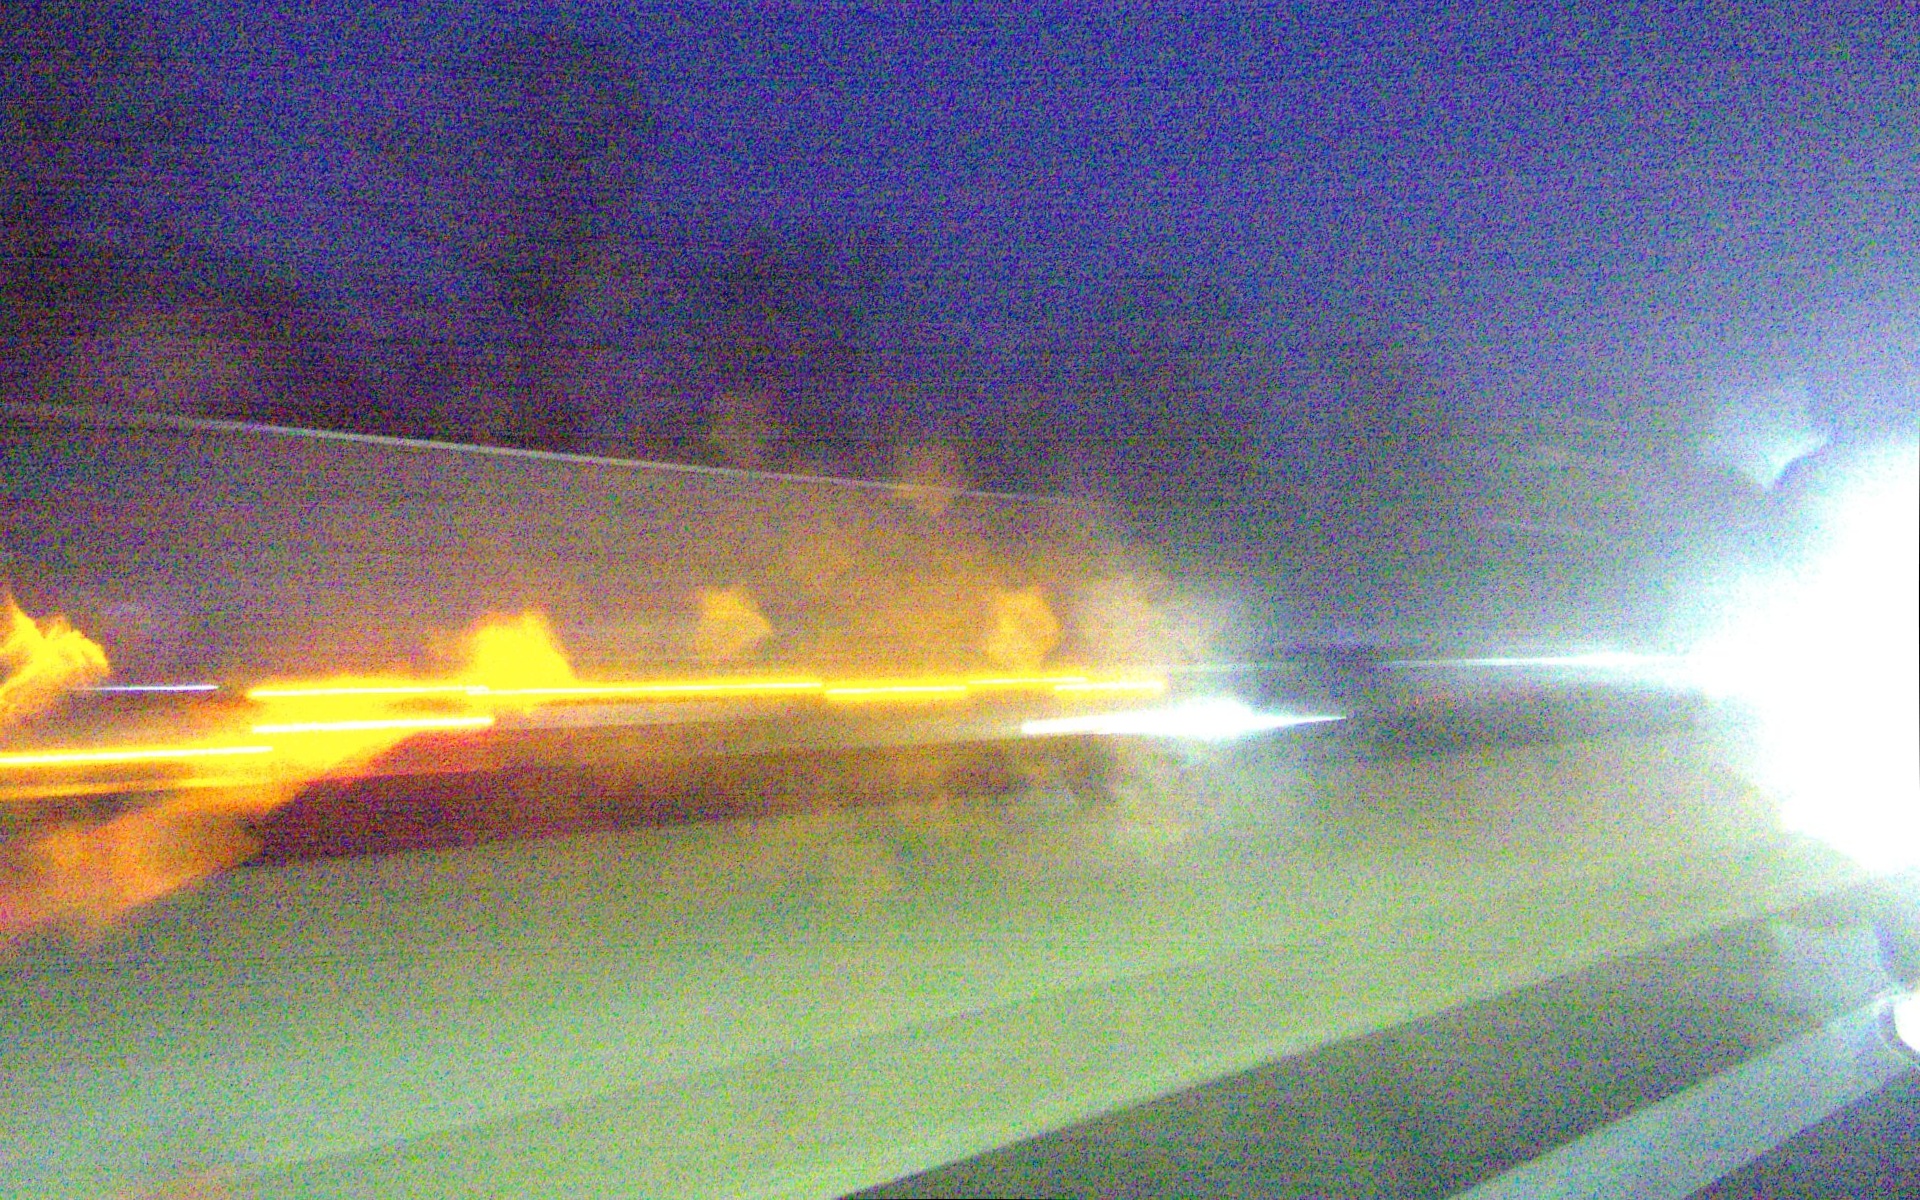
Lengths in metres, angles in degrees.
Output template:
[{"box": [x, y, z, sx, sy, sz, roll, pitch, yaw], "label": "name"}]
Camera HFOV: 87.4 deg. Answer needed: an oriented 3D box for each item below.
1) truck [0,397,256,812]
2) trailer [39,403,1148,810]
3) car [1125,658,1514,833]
[{"box": [-12.054, 0.034, 11.168, 6.666, 4.393, 2.872, 0, 1, -31], "label": "truck"}, {"box": [-3.900, 0.085, 15.993, 15.533, 4.362, 2.872, 0, 1, -31], "label": "trailer"}, {"box": [3.934, 1.398, 10.792, 4.239, 1.466, 1.669, 1, -2, -32], "label": "car"}]
